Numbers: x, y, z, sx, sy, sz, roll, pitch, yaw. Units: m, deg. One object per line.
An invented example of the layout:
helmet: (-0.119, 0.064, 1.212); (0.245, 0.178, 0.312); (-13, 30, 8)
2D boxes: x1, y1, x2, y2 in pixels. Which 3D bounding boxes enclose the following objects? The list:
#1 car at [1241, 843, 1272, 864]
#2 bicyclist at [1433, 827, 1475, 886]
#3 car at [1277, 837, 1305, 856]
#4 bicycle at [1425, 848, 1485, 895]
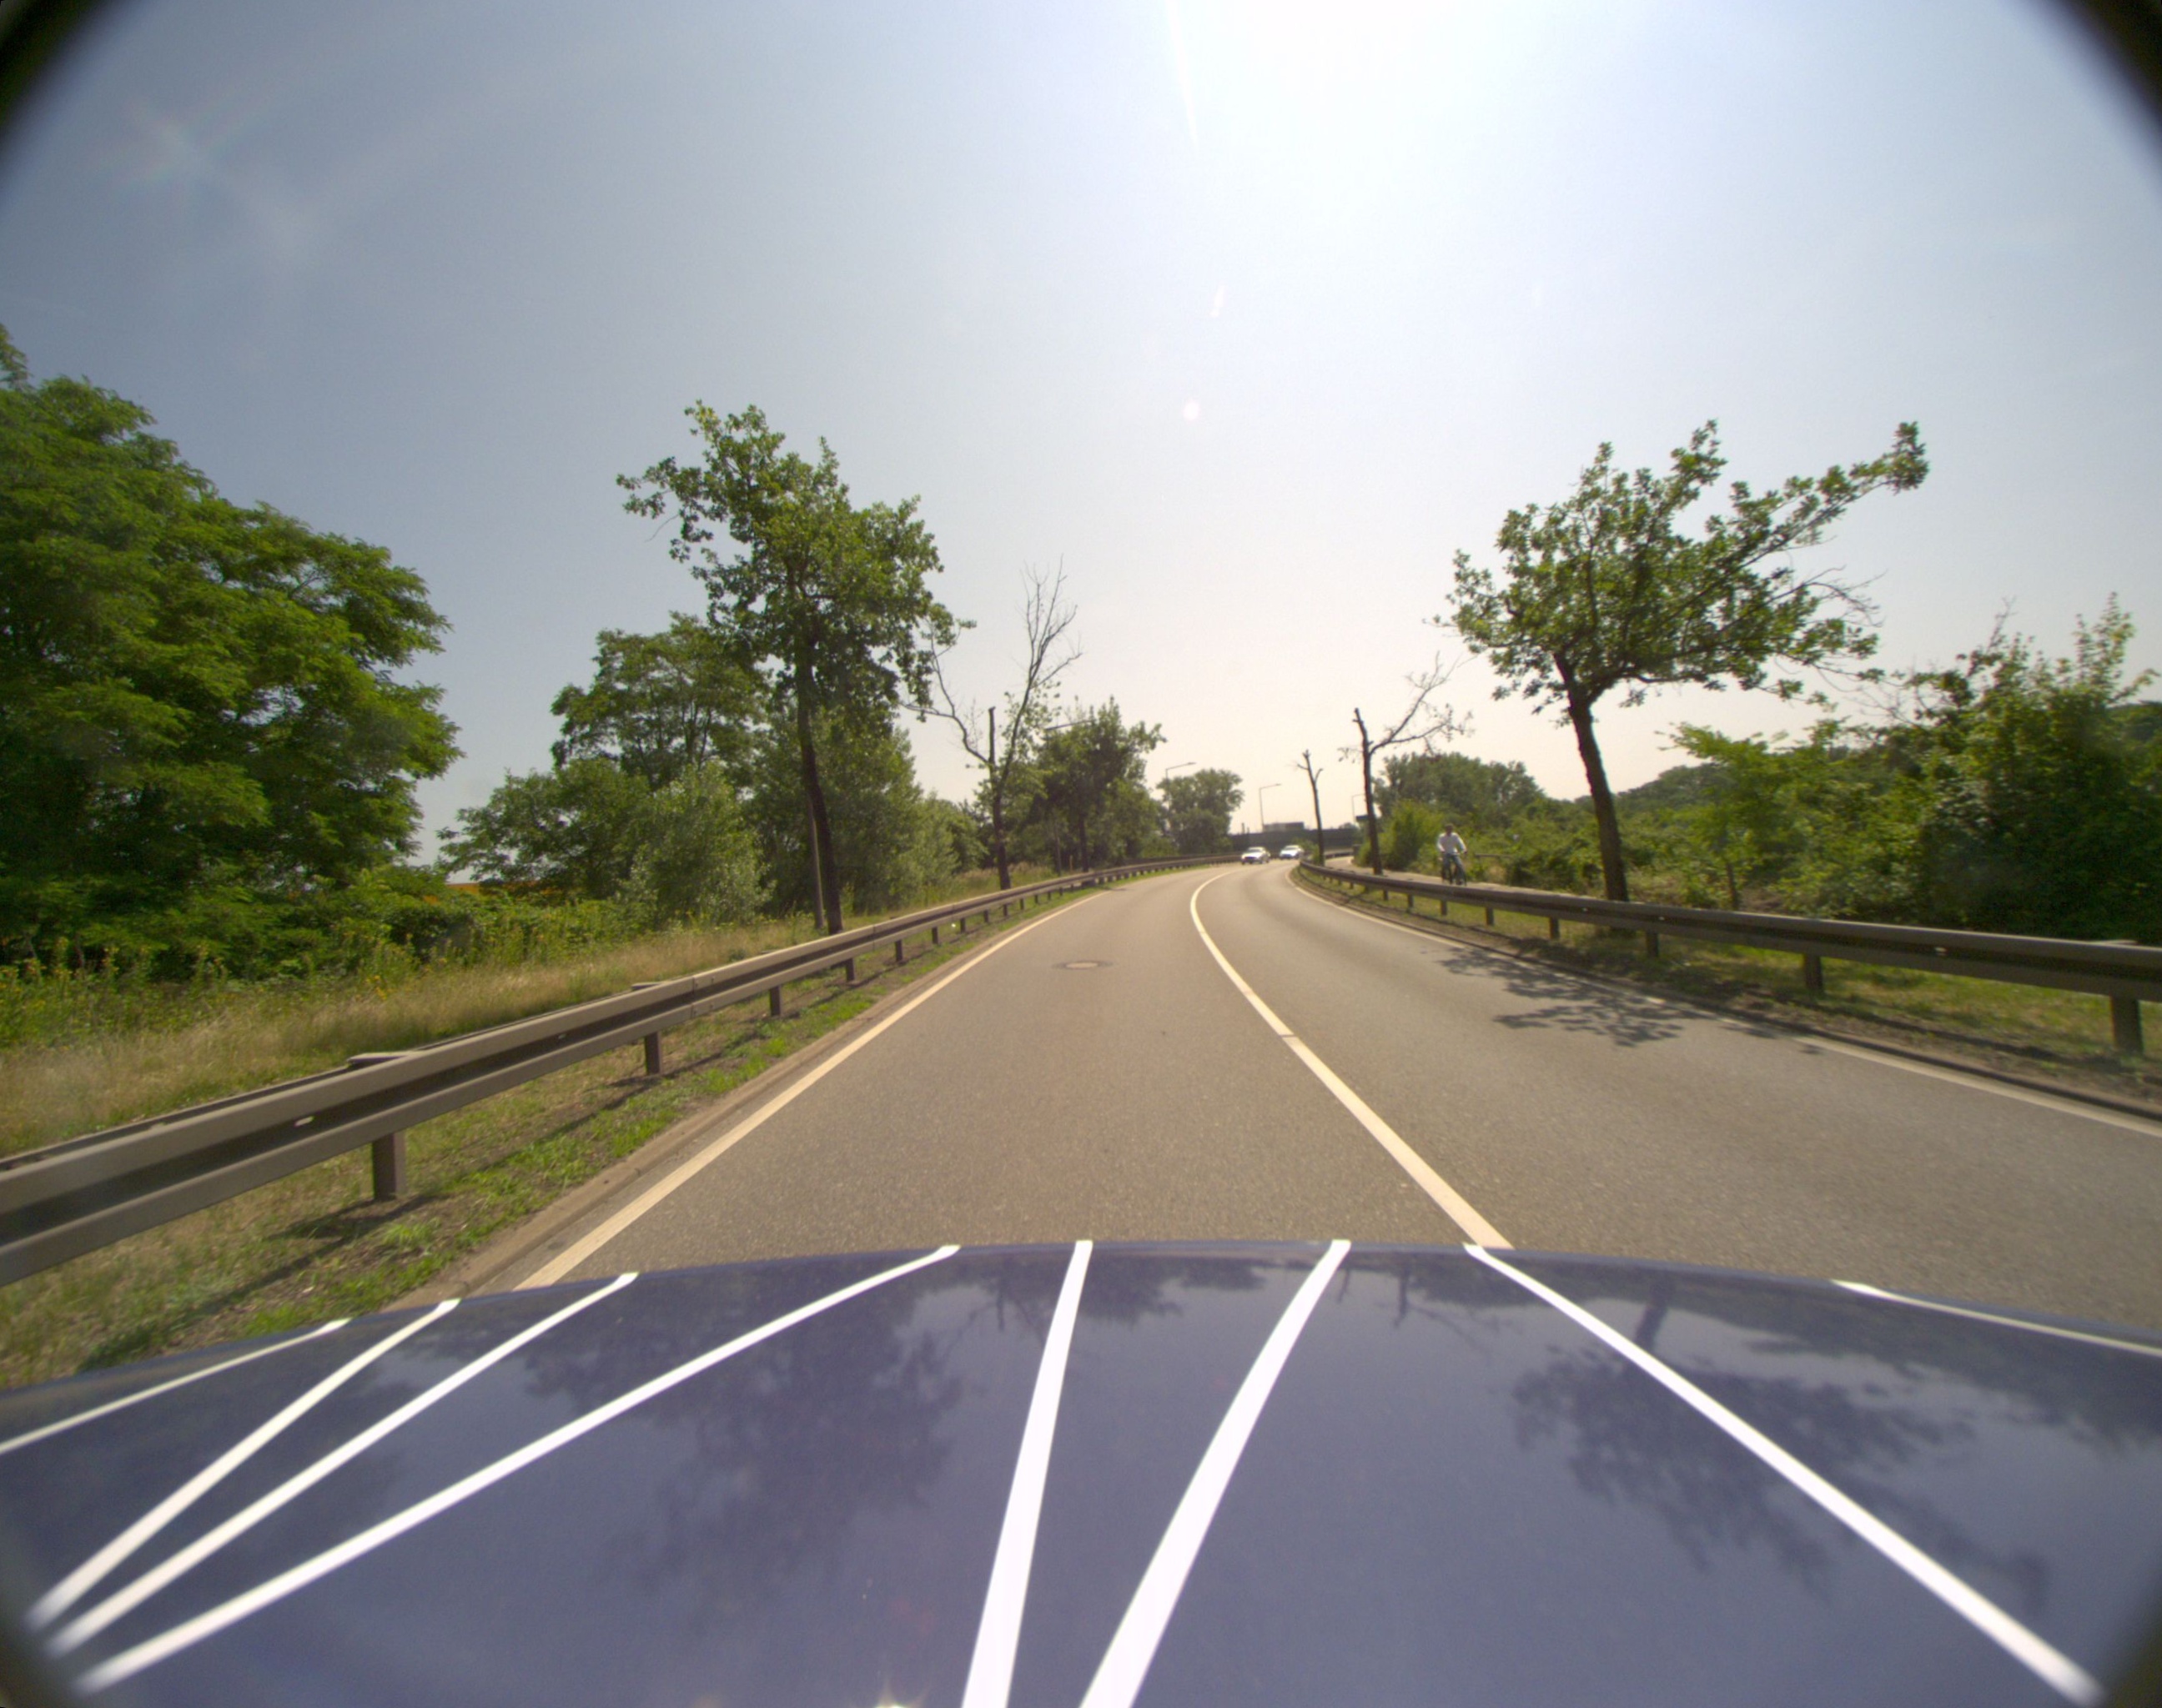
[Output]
car: (15.051, -0.072, 65.125); (1.760, 1.491, 4.238); (-3, 2, 24)
bicyclist: (9.468, 0.068, 19.311); (0.731, 1.457, 0.824); (-1, 1, 7)
car: (21.791, -0.779, 78.691); (1.795, 1.772, 4.300); (-3, 1, 29)
bicycle: (9.471, 0.428, 19.329); (0.735, 1.110, 2.047); (-1, 1, 8)
